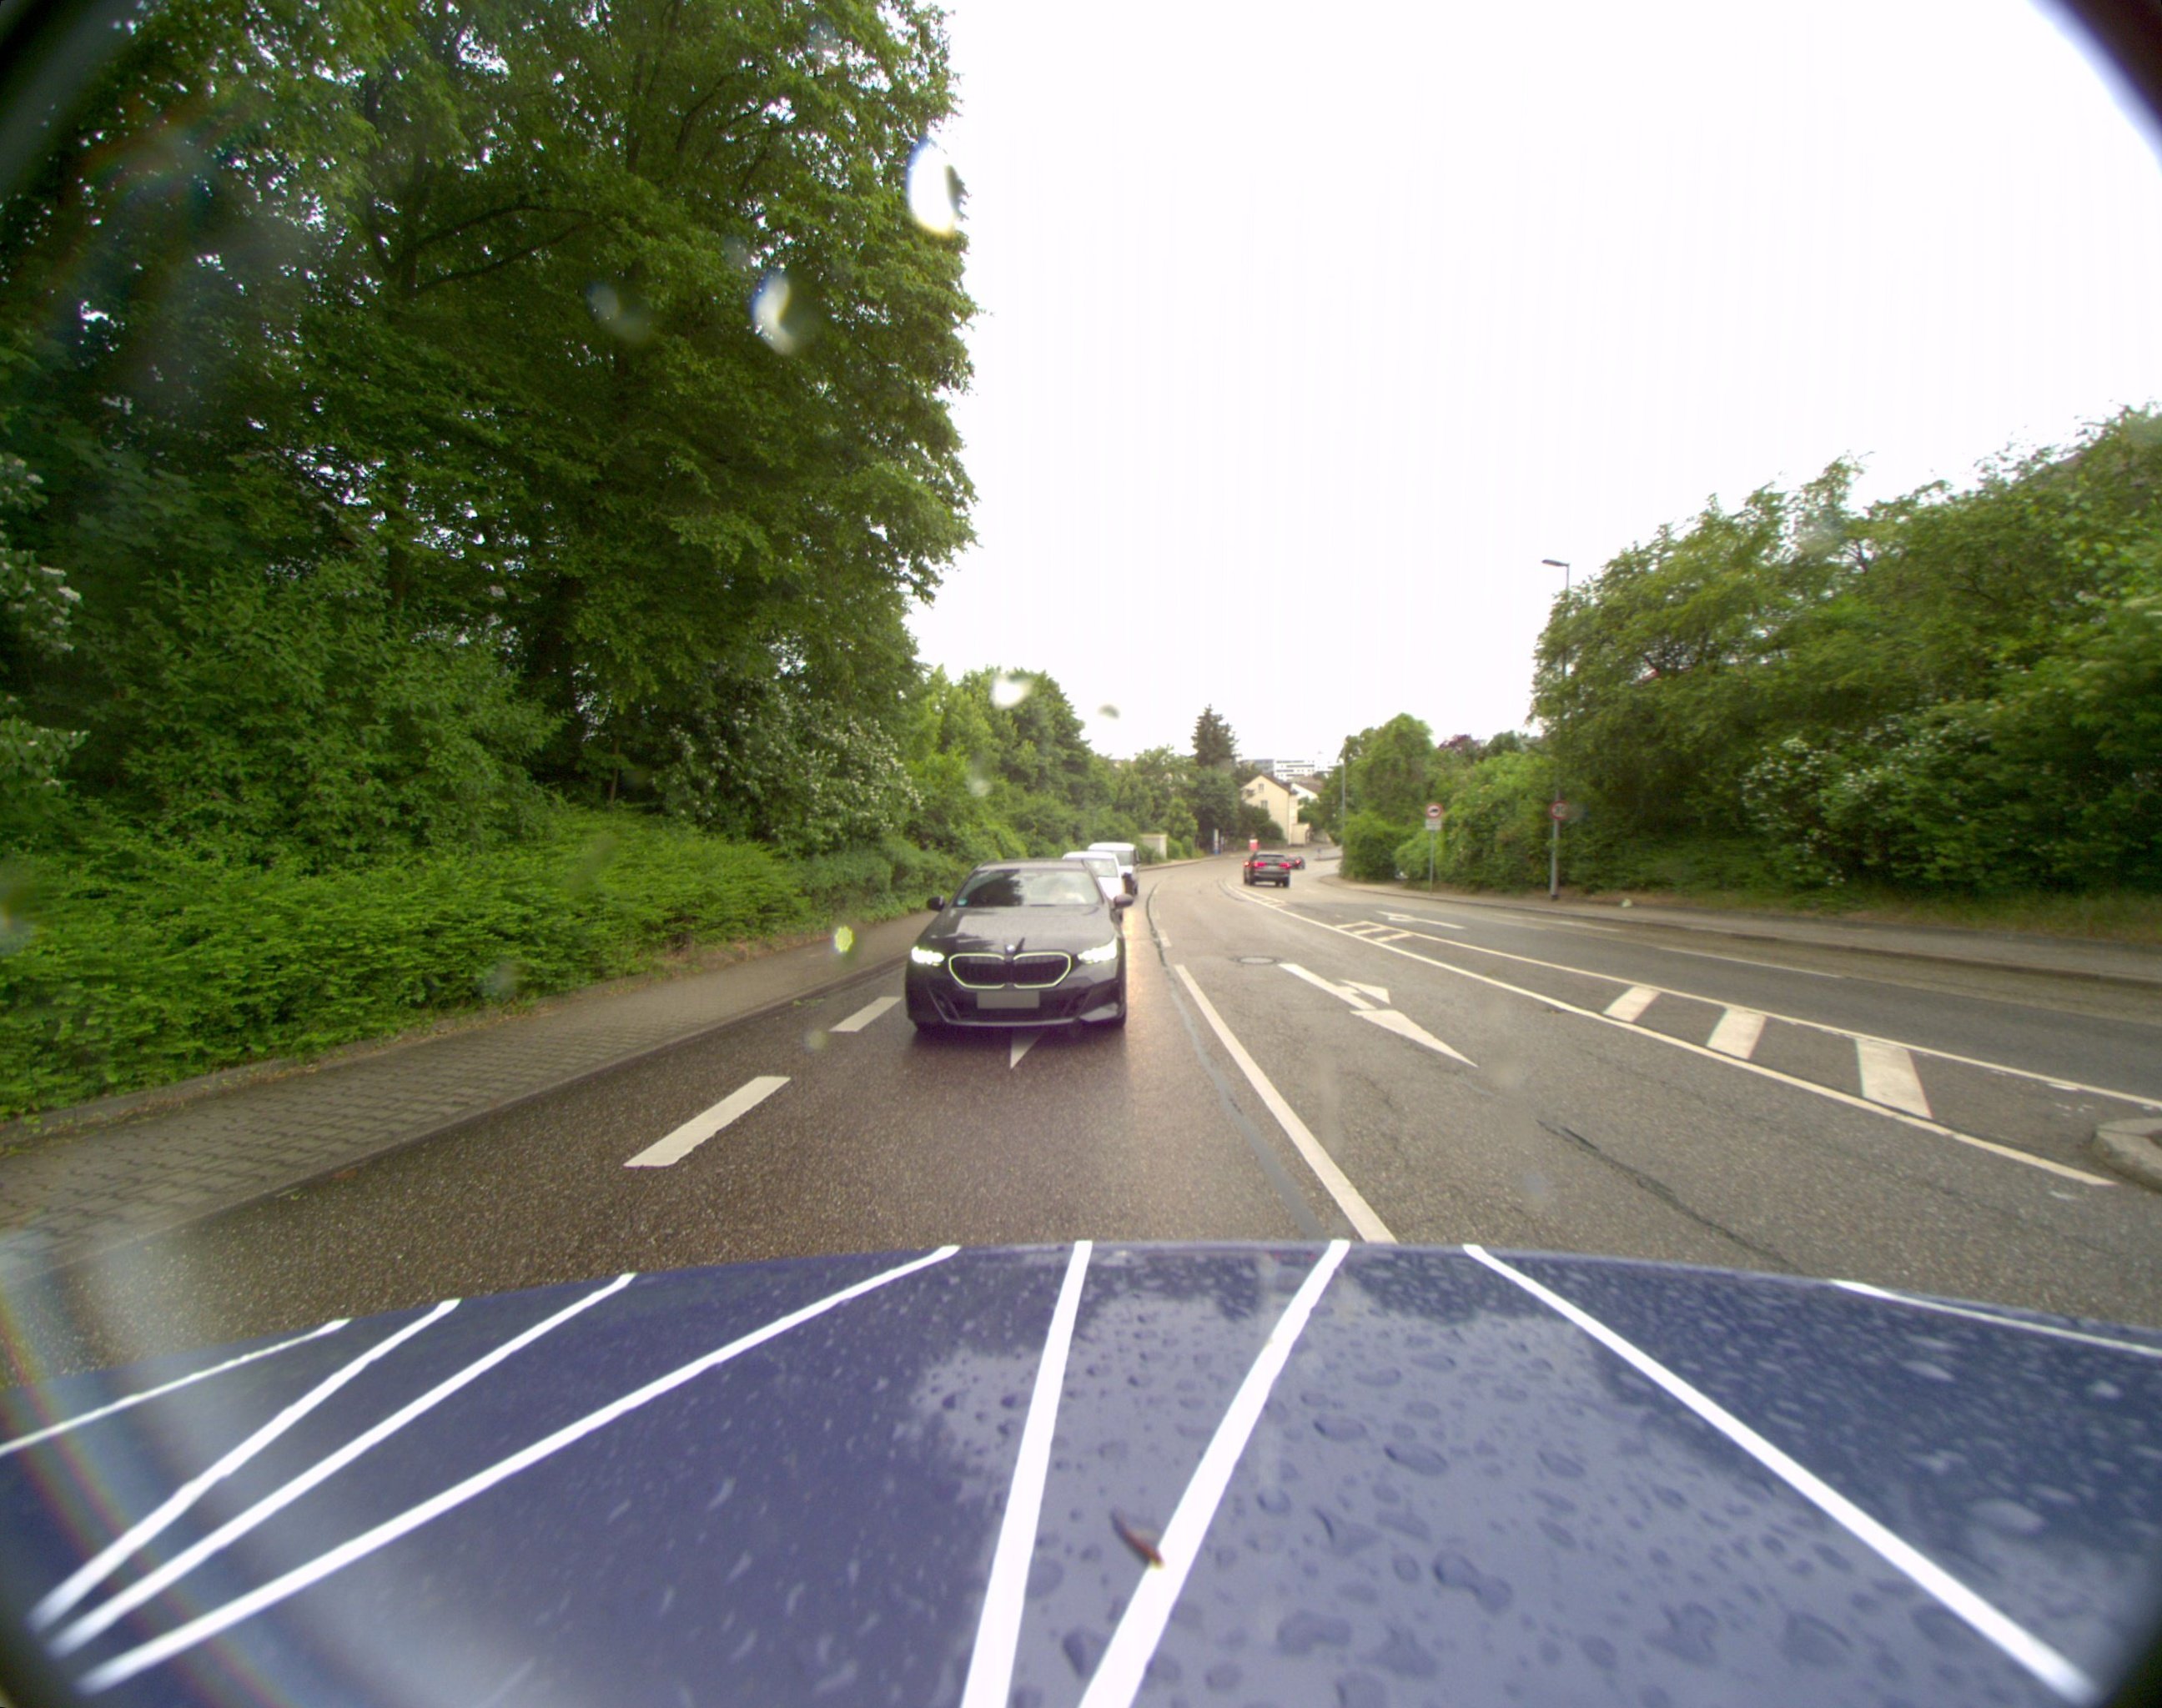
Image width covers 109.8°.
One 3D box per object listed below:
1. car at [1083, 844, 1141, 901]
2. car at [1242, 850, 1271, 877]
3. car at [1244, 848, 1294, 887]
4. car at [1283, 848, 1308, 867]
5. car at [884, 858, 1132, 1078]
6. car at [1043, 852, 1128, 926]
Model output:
[{"bbox_3d":[1.134,0.543,26.019,1.814,1.797,4.120,0,1,4],"label":"car"},{"bbox_3d":[13.621,0.708,59.273,2.130,2.002,4.090,0,0,12],"label":"car"},{"bbox_3d":[9.692,0.652,39.423,1.959,1.835,4.002,2,1,7],"label":"car"},{"bbox_3d":[22.761,0.352,80.519,1.995,1.903,4.007,0,0,25],"label":"car"},{"bbox_3d":[-0.520,0.874,7.802,1.867,1.547,4.118,0,1,1],"label":"car"},{"bbox_3d":[0.217,0.741,18.310,1.814,1.547,4.120,0,1,4],"label":"car"}]
